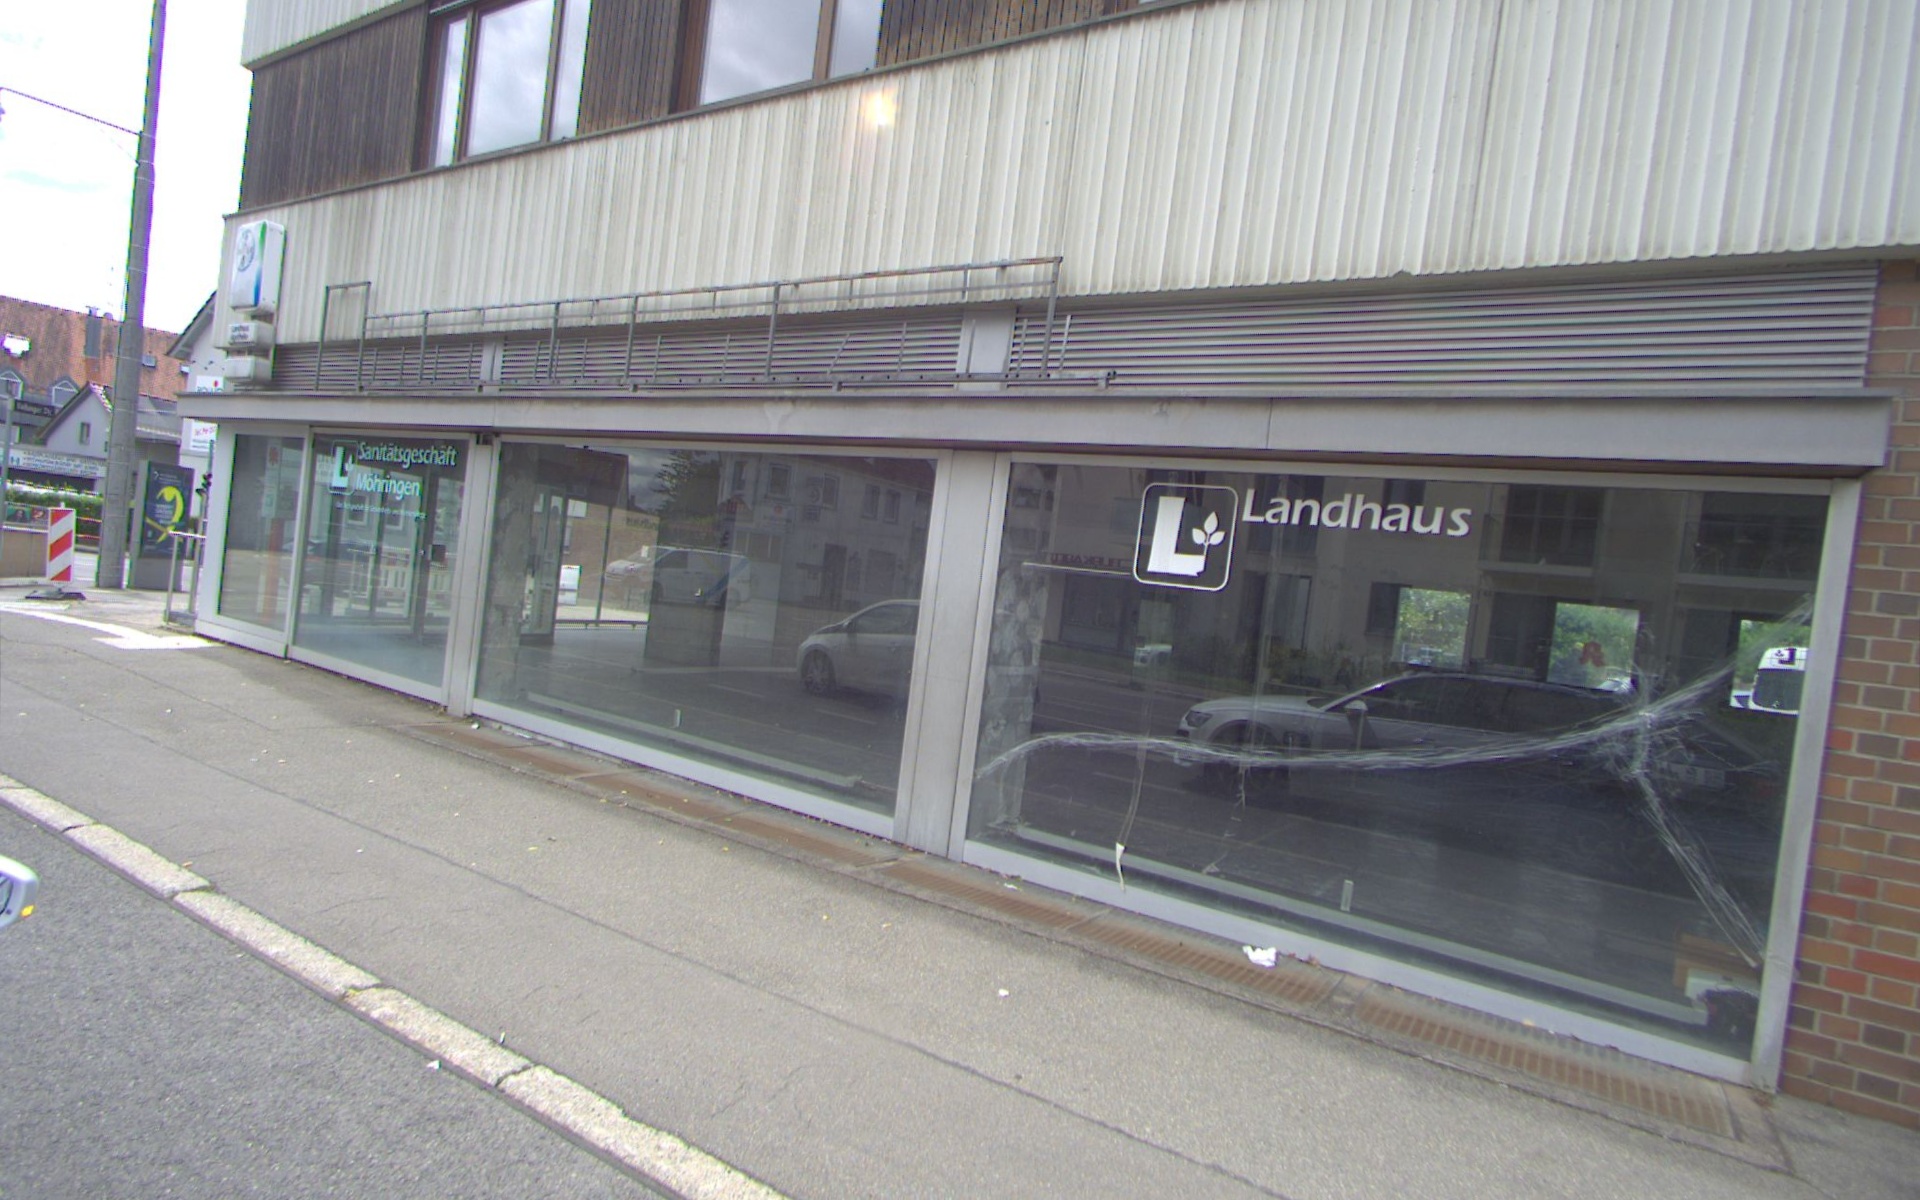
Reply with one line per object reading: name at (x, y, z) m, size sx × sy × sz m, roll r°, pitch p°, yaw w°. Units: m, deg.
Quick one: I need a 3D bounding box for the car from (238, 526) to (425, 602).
car at (-18.613, -1.014, 30.032) m, size 1.963 × 1.696 × 4.306 m, roll 7°, pitch -1°, yaw 21°

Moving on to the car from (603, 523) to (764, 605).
car at (-9.254, -1.171, 33.905) m, size 4.691 × 2.037 × 1.976 m, roll 9°, pitch -2°, yaw -44°

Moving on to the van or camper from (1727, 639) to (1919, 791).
van or camper at (18.987, 2.420, 20.046) m, size 5.409 × 2.574 × 2.058 m, roll 7°, pitch 1°, yaw 4°
